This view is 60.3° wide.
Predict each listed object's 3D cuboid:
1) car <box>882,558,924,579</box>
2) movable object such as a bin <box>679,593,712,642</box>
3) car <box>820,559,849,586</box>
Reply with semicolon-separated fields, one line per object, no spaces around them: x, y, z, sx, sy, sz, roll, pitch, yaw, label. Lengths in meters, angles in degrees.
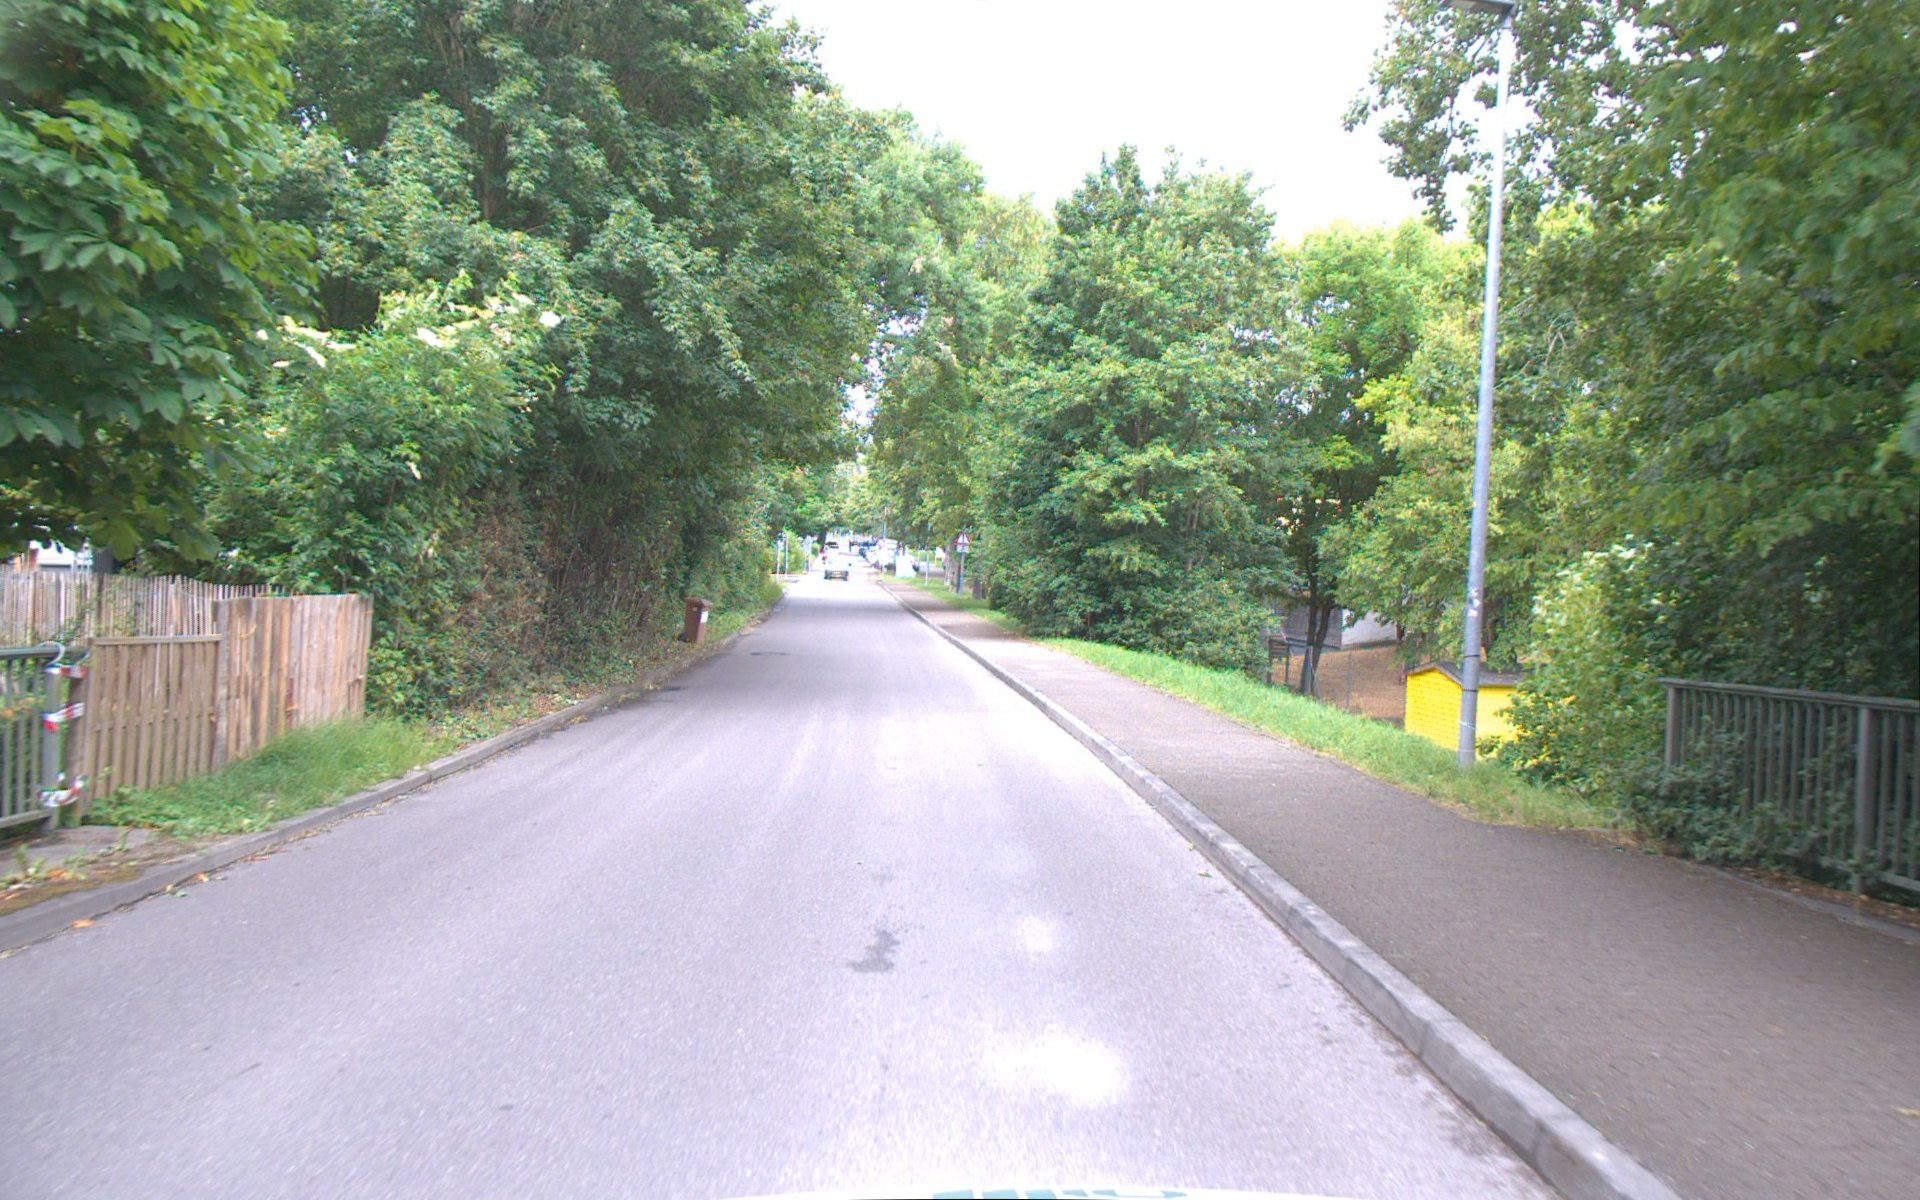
-5.439;-2.993;157.393;3.908;1.803;1.999;3;0;-3;car
-5.504;0.363;34.411;0.578;0.974;0.469;2;0;-3;movable object such as a bin
-9.183;-1.982;121.423;1.954;1.803;3.998;3;0;-3;car
